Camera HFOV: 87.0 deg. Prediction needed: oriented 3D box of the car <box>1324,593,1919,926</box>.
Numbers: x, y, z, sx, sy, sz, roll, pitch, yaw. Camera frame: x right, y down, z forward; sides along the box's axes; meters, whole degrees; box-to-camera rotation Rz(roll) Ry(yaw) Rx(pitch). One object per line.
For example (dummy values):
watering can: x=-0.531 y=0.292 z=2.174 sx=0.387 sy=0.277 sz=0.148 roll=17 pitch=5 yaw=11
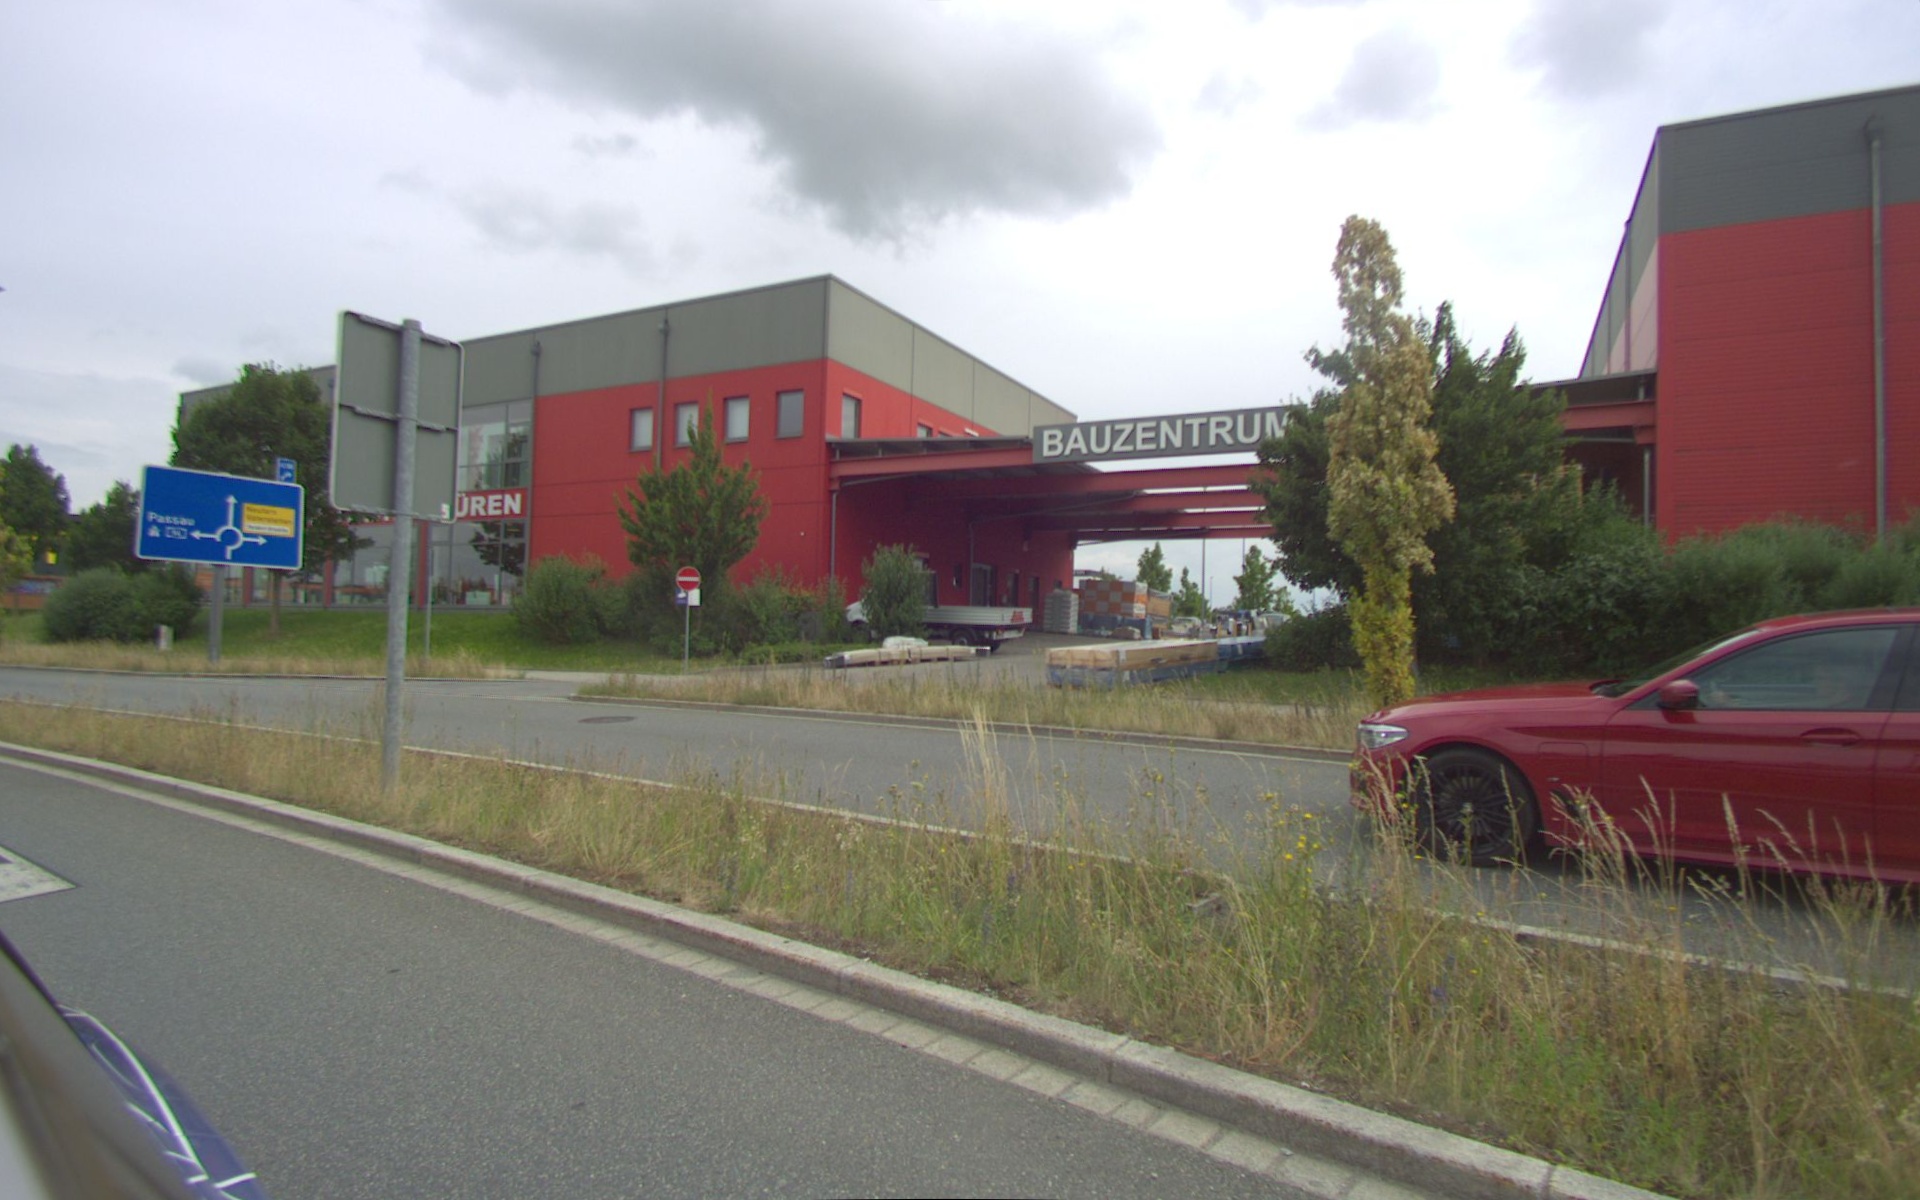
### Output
car: x=4.705 y=0.709 z=5.300 sx=4.969 sy=1.458 sz=1.772 roll=-1 pitch=1 yaw=41

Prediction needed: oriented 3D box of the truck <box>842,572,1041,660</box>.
truck: x=-0.612 y=0.473 z=30.979 sx=5.879 sy=2.506 sz=2.021 roll=0 pitch=-1 yaw=28
